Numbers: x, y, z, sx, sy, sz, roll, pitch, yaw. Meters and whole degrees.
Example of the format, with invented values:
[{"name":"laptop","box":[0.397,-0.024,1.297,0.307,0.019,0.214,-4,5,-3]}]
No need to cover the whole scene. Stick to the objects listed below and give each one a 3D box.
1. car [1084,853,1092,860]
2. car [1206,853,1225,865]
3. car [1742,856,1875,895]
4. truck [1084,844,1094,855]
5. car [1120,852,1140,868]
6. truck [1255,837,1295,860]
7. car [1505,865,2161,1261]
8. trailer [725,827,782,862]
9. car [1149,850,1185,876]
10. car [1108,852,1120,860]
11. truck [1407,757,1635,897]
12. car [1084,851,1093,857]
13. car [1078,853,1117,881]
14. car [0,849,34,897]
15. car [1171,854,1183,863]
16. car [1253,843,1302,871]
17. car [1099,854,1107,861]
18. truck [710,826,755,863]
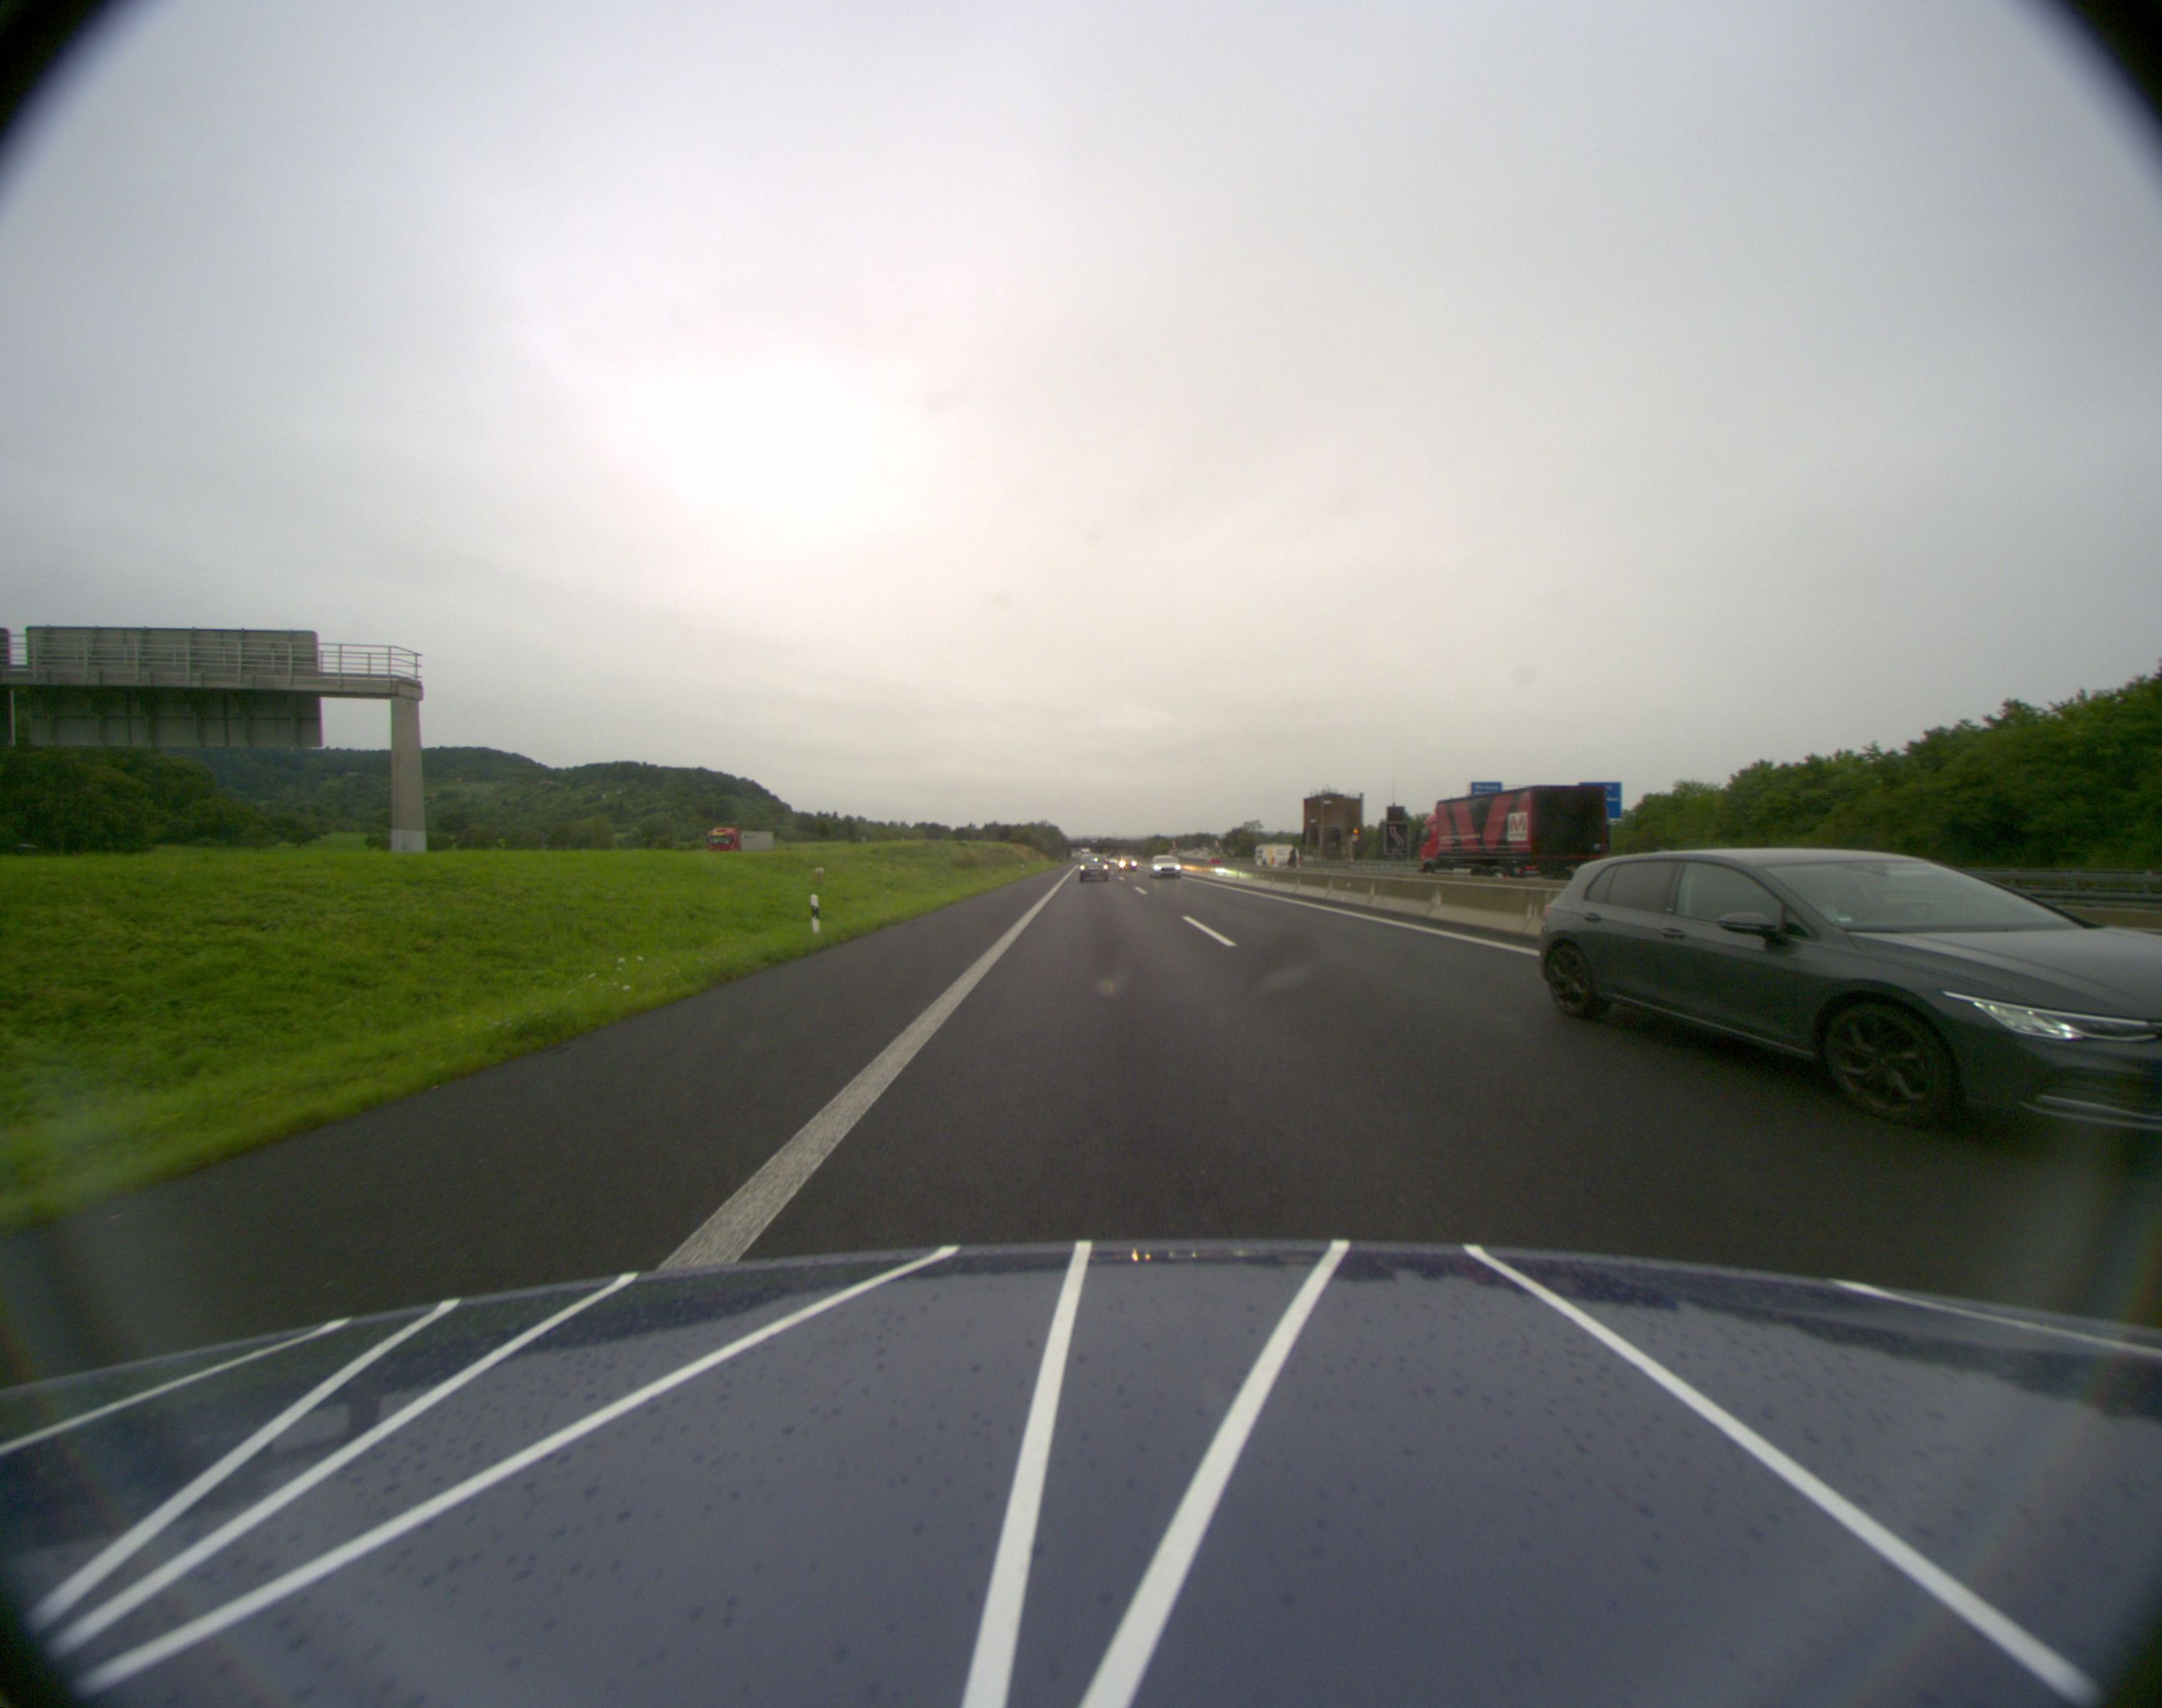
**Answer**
[{"name":"car","box":[1.637,0.618,175.379,1.942,1.341,4.000,-3,0,1]},{"name":"car","box":[17.725,0.632,100.316,1.728,1.543,4.582,-2,0,0]},{"name":"car","box":[28.822,0.790,30.282,1.526,1.390,4.000,-1,0,1]},{"name":"truck","box":[2.479,-1.400,235.997,2.728,3.098,7.960,-3,0,1]},{"name":"car","box":[4.847,0.565,75.519,1.835,1.417,4.368,-4,0,2]},{"name":"truck","box":[34.092,-0.960,134.422,3.185,3.786,17.134,-1,0,1]},{"name":"car","box":[5.032,0.838,5.121,1.835,1.417,4.367,-2,0,-1]},{"name":"trailer","box":[-40.250,-1.129,93.922,2.498,3.961,12.399,-2,0,-5]},{"name":"car","box":[5.716,0.590,50.964,1.998,1.582,4.817,-2,0,3]},{"name":"car","box":[6.088,0.406,140.673,1.942,1.341,4.000,-3,0,-1]},{"name":"truck","box":[17.396,-0.927,31.391,3.408,4.705,10.485,-2,0,1]},{"name":"car","box":[1.789,-0.003,182.054,1.942,1.341,4.000,-3,0,1]},{"name":"car","box":[1.047,0.744,47.399,2.242,1.565,4.817,-2,0,2]},{"name":"car","box":[-34.444,0.600,21.893,1.825,1.495,5.029,-1,0,-6]},{"name":"car","box":[18.991,0.951,150.535,1.998,1.652,4.314,-1,0,3]},{"name":"car","box":[13.589,0.189,52.815,1.999,1.852,5.220,0,0,0]},{"name":"car","box":[5.234,0.888,181.469,1.998,1.565,4.000,-2,0,1]},{"name":"truck","box":[-39.732,-1.085,86.743,2.515,3.964,5.925,-2,1,-3]}]
